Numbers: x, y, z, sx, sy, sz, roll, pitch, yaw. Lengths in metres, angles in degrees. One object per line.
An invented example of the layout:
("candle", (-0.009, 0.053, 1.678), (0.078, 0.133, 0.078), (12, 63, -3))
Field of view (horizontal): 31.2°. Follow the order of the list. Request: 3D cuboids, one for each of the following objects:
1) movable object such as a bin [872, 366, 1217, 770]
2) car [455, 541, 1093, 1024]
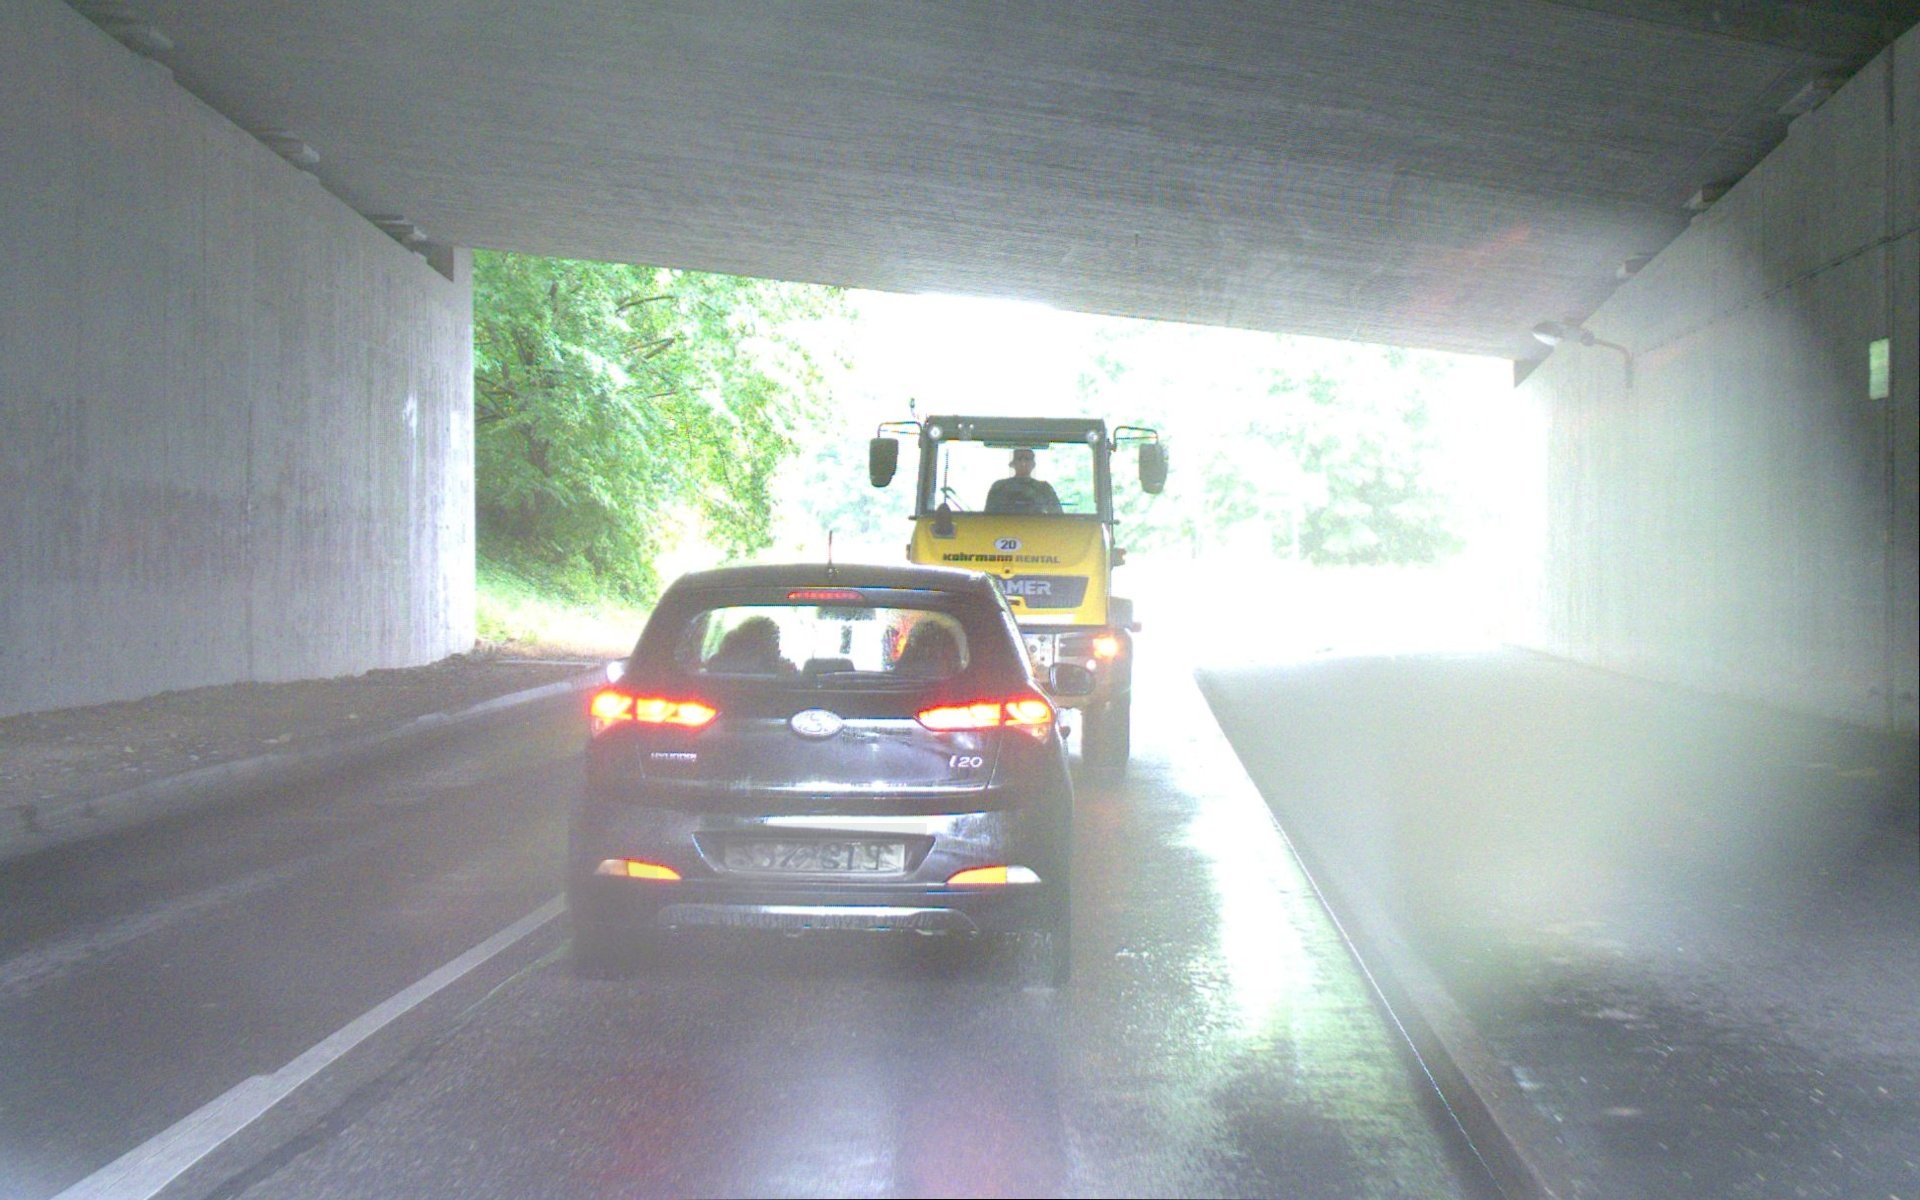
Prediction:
("movable object such as a bin", (0.657, -0.265, 26.560), (2.246, 2.660, 6.626), (2, 1, 2))
("car", (-0.619, 0.554, 12.996), (1.993, 1.482, 4.000), (2, 1, -1))
